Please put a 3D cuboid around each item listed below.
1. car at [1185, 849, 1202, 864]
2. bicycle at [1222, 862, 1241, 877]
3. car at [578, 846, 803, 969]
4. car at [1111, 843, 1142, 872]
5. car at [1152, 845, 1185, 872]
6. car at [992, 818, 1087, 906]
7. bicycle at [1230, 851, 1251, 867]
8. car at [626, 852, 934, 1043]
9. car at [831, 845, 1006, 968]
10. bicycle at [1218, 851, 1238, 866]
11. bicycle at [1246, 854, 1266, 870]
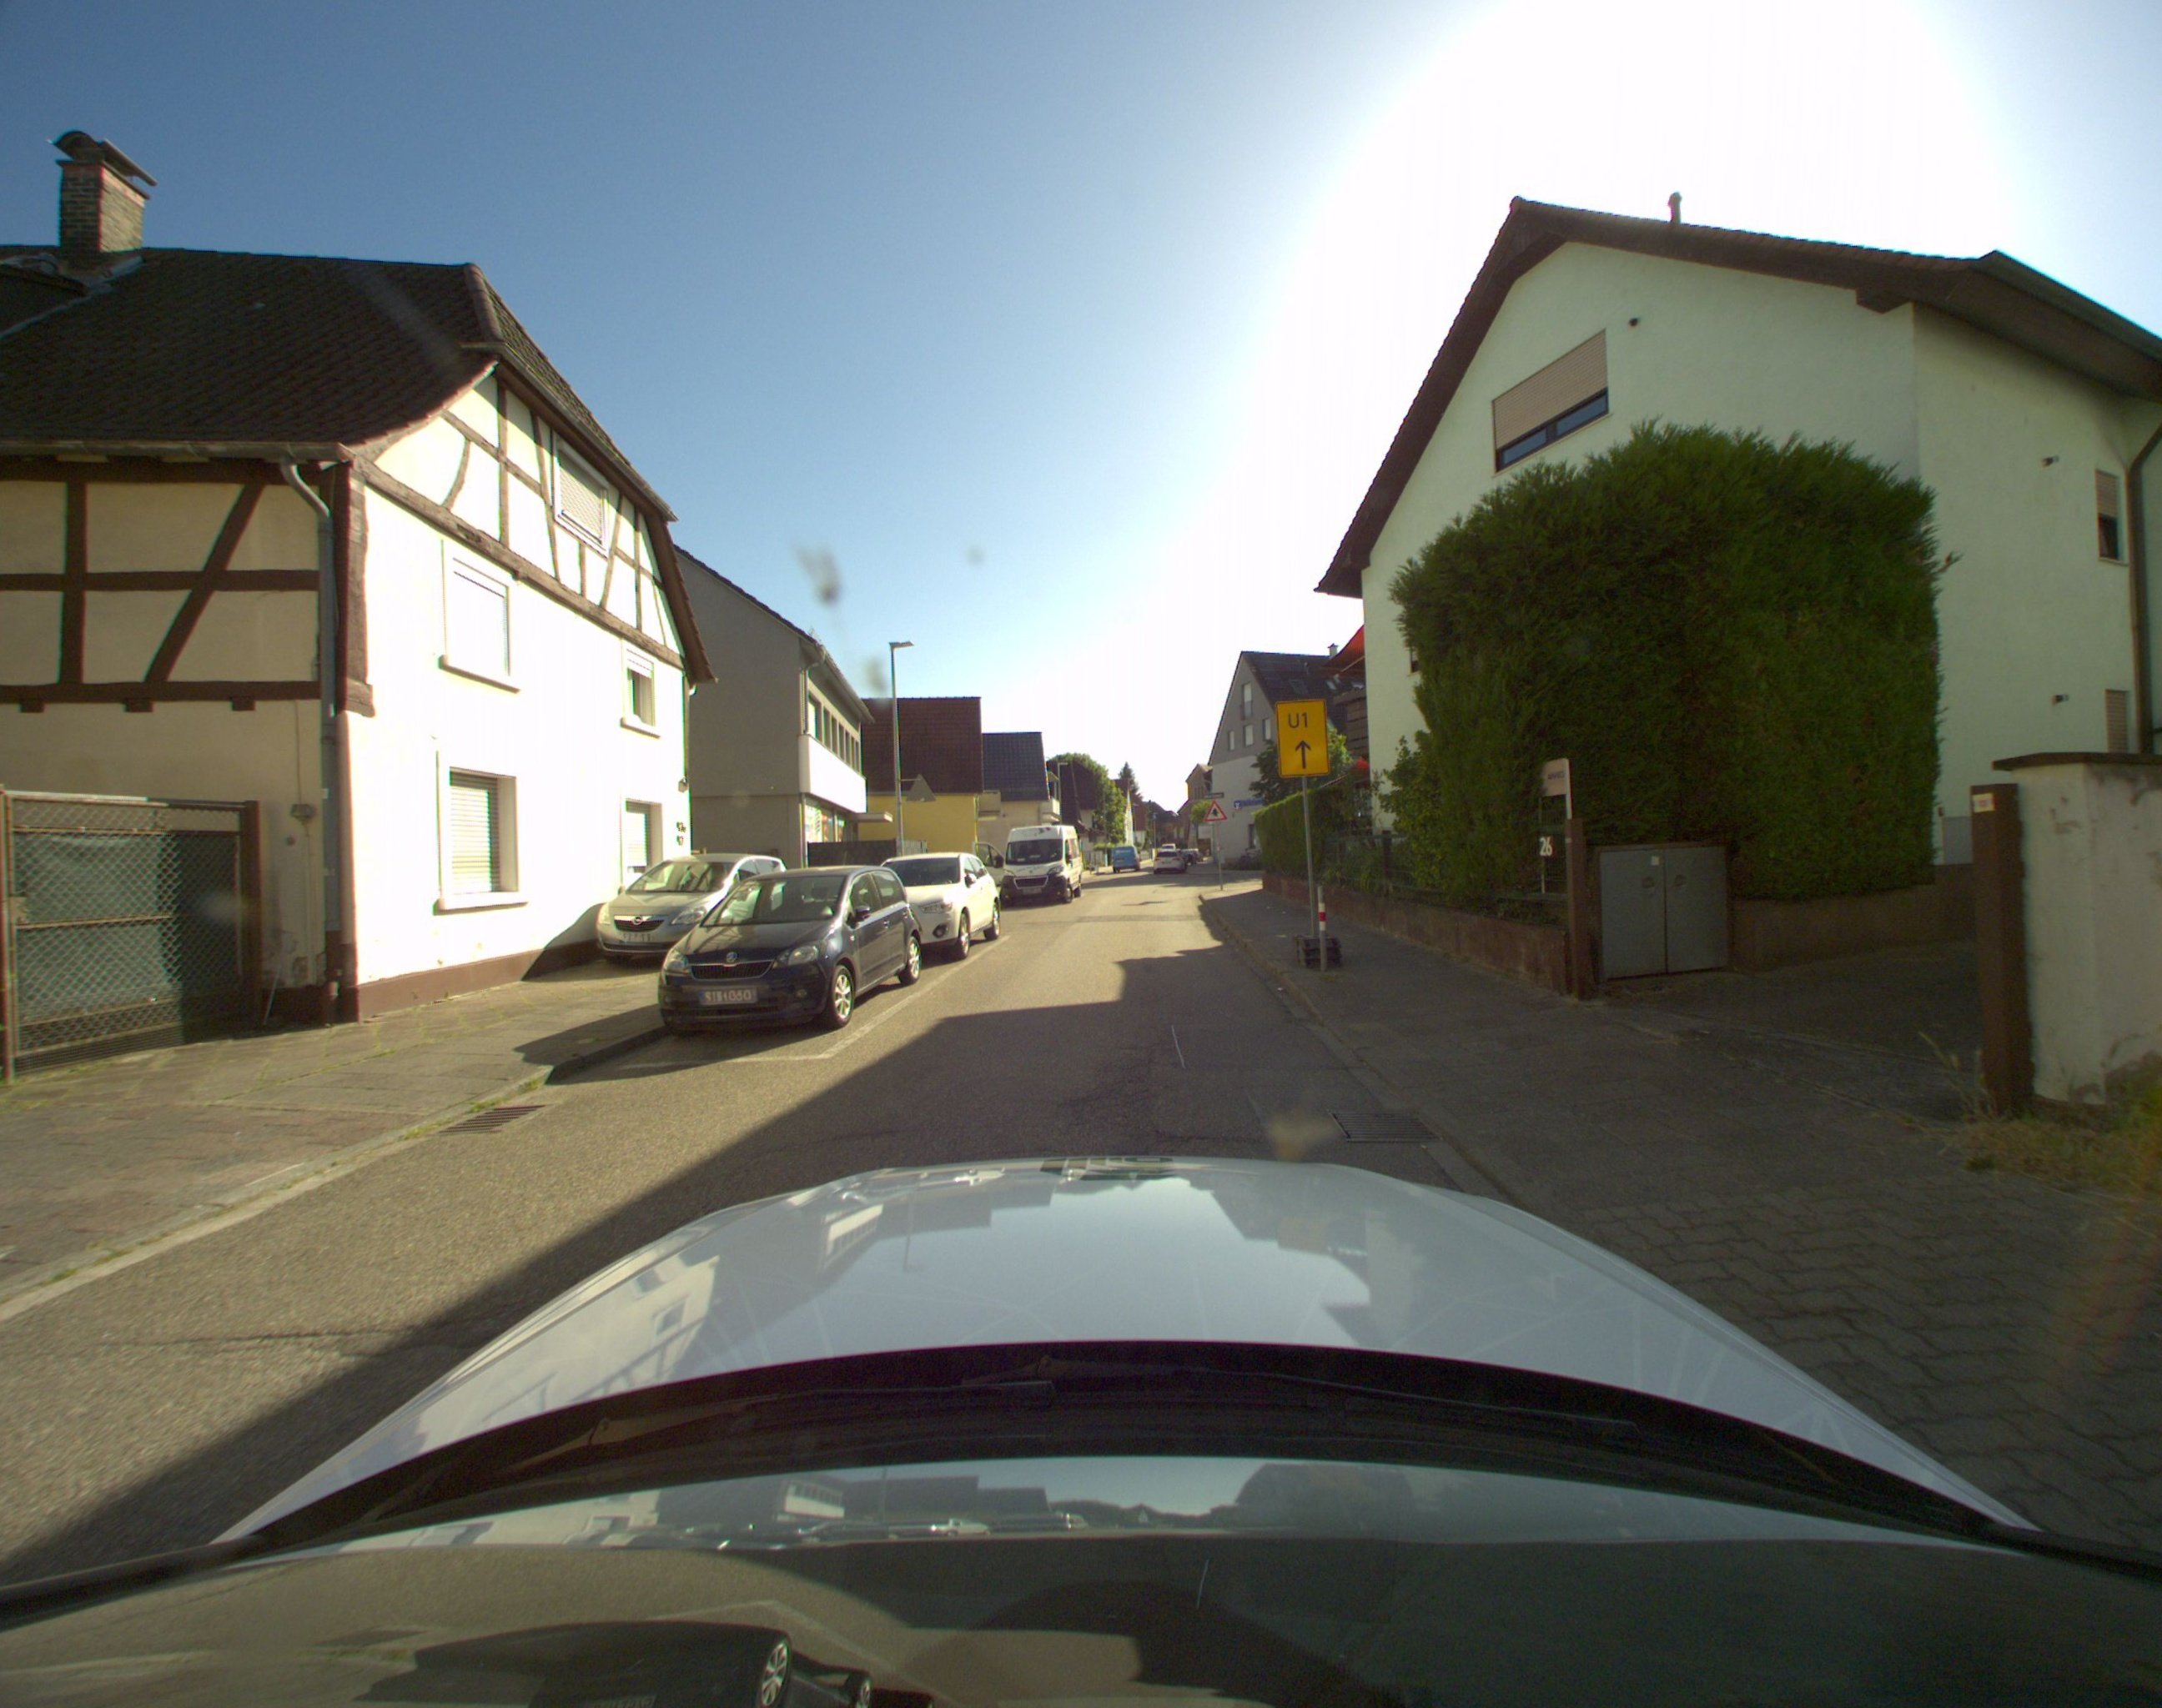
[{"bbox_3d":[12.312,0.252,88.861,1.801,1.475,4.671,-2,0,9],"label":"car"},{"bbox_3d":[9.584,0.987,51.919,1.154,0.920,0.314,-3,0,15],"label":"bicycle"},{"bbox_3d":[-5.955,0.714,13.023,1.637,1.587,4.110,-2,0,-1],"label":"car"},{"bbox_3d":[3.399,0.215,59.803,1.892,1.917,5.079,-4,0,7],"label":"car"},{"bbox_3d":[5.567,0.257,51.492,1.835,1.514,4.517,-2,0,8],"label":"car"},{"bbox_3d":[-1.193,0.210,26.607,2.242,2.470,5.523,-3,0,5],"label":"car"},{"bbox_3d":[10.227,0.313,52.202,1.211,0.975,0.322,-3,0,21],"label":"bicycle"},{"bbox_3d":[-2.870,0.786,8.688,1.648,1.507,3.687,-3,0,3],"label":"car"},{"bbox_3d":[-2.438,0.711,13.310,1.715,1.618,4.116,-3,0,3],"label":"car"},{"bbox_3d":[9.302,0.287,51.456,1.154,0.920,0.314,-3,0,15],"label":"bicycle"},{"bbox_3d":[10.658,0.469,49.566,1.157,0.920,0.314,-3,0,5],"label":"bicycle"}]
